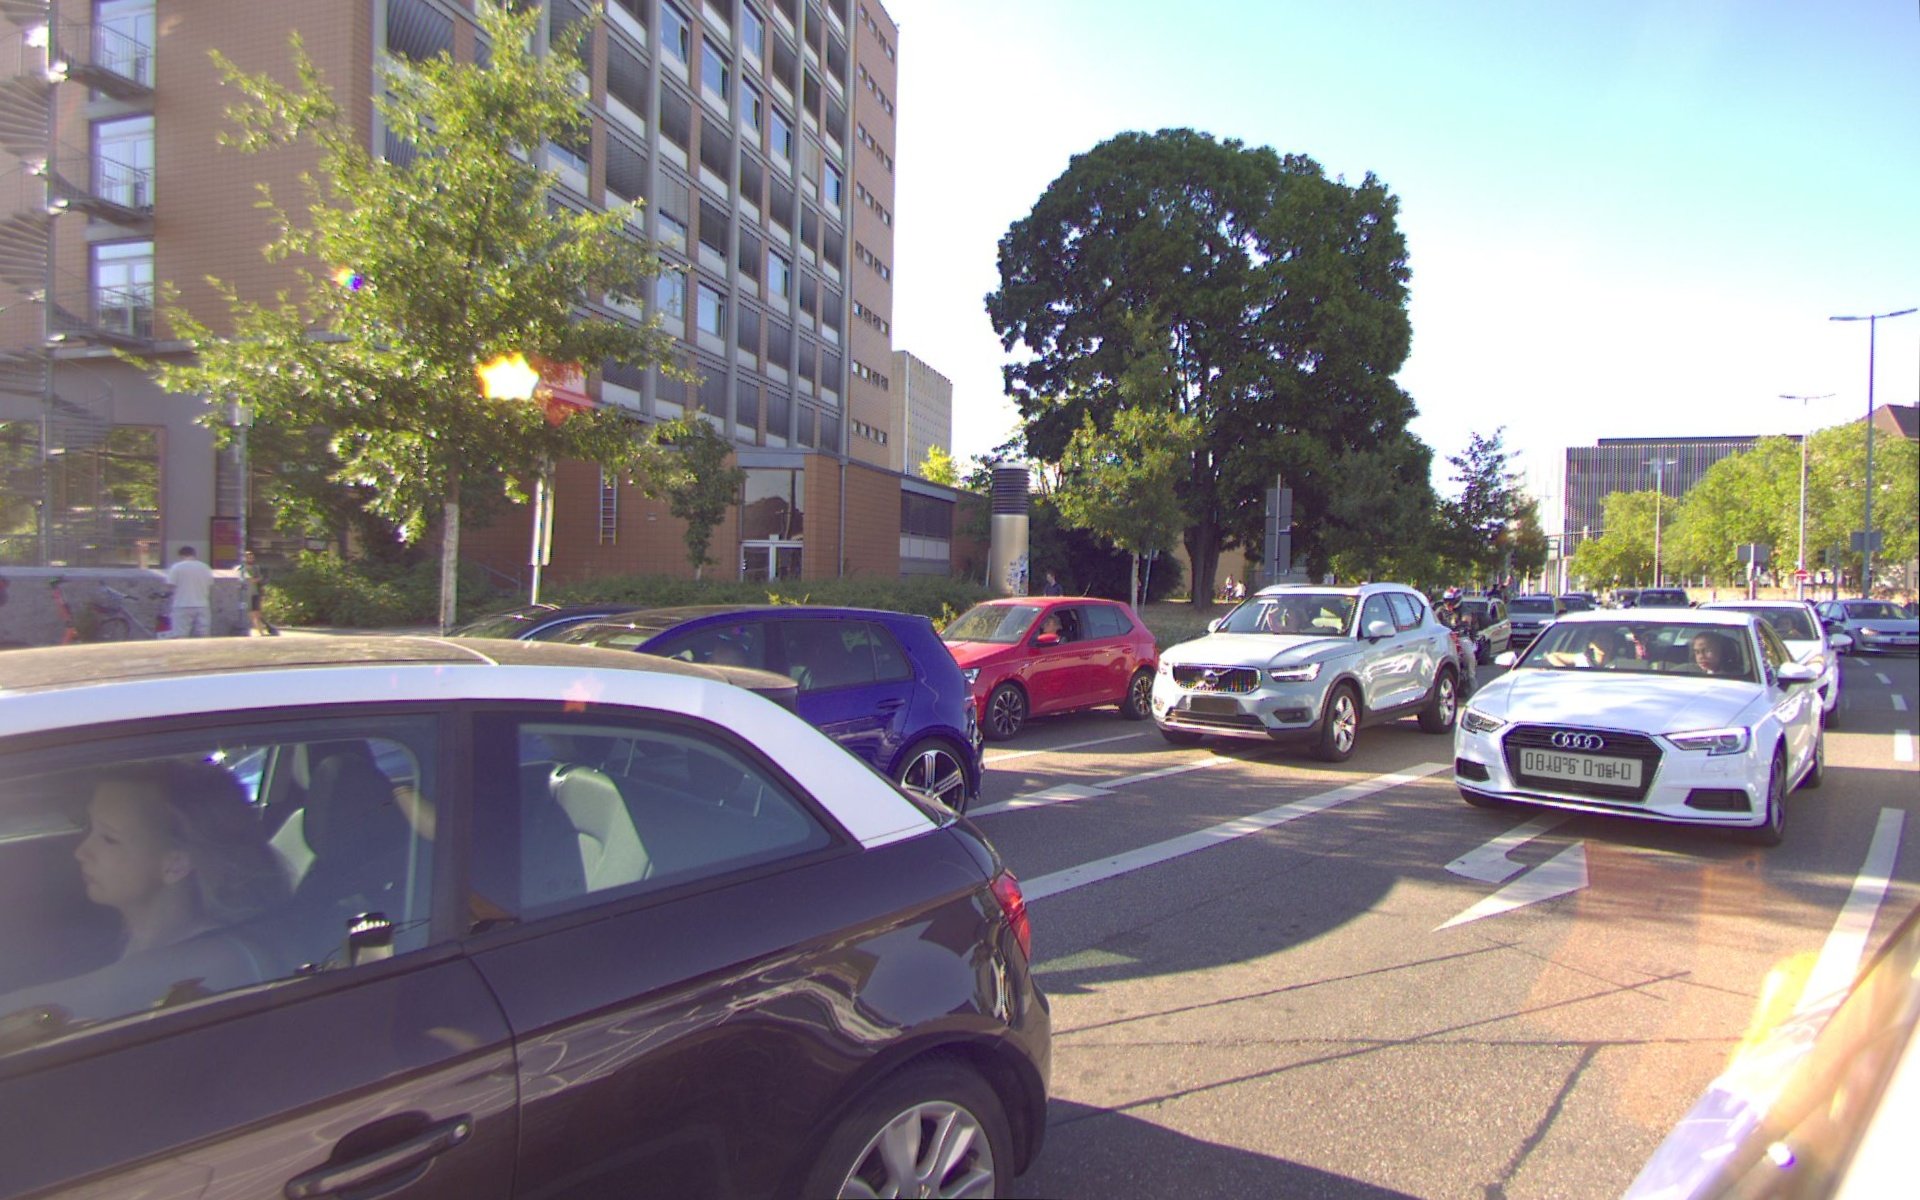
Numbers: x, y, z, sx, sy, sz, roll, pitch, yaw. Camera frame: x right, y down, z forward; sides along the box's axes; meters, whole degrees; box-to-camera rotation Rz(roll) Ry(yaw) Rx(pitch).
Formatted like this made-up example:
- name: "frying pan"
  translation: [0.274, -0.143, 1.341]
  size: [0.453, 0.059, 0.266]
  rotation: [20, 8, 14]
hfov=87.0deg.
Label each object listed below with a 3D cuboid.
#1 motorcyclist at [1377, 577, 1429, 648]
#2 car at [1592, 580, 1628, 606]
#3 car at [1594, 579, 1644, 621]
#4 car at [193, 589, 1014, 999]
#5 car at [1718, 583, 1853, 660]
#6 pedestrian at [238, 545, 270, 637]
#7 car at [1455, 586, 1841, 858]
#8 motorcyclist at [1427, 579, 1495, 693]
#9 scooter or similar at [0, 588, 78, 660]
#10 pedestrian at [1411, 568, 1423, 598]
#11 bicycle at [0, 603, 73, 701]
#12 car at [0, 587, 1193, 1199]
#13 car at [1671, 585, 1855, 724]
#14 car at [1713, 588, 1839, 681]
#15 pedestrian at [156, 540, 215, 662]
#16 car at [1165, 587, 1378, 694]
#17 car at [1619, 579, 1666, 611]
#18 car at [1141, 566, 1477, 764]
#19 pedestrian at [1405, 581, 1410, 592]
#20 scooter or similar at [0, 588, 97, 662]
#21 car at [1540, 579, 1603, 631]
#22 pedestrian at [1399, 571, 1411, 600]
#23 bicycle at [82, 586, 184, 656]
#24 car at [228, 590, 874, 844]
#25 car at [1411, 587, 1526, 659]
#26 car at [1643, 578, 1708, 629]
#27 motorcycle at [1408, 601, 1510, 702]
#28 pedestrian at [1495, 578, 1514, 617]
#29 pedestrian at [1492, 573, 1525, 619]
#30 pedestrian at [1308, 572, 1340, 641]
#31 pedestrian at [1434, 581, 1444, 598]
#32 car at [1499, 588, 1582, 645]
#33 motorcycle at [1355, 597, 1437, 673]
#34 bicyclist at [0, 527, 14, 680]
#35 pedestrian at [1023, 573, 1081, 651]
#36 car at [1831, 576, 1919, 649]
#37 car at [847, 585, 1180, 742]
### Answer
- name: "motorcyclist"
  translation: [8.509, 0.232, 19.429]
  size: [0.715, 1.321, 0.724]
  rotation: [-1, 0, 43]
- name: "car"
  translation: [47.980, -0.531, 74.779]
  size: [1.862, 1.838, 3.962]
  rotation: [1, 1, 27]
- name: "car"
  translation: [30.737, -0.020, 47.250]
  size: [1.866, 1.838, 3.953]
  rotation: [1, 1, 33]
- name: "car"
  translation: [-1.658, 0.678, 5.545]
  size: [3.932, 1.422, 1.625]
  rotation: [-1, 1, -42]
- name: "car"
  translation: [18.754, 0.412, 23.168]
  size: [1.732, 1.564, 3.958]
  rotation: [1, 1, 30]
- name: "pedestrian"
  translation: [-13.664, -0.168, 19.584]
  size: [0.441, 1.754, 0.372]
  rotation: [-1, 0, 34]
- name: "car"
  translation: [5.107, 0.631, 7.303]
  size: [3.772, 1.422, 1.624]
  rotation: [-1, 1, -45]
- name: "motorcyclist"
  translation: [7.282, 0.502, 14.708]
  size: [0.709, 1.610, 0.679]
  rotation: [-1, 0, 43]
- name: "scooter or similar"
  translation: [-13.489, 0.340, 14.424]
  size: [0.339, 1.008, 1.359]
  rotation: [-1, 0, 28]
- name: "pedestrian"
  translation: [24.736, -0.918, 54.723]
  size: [0.542, 1.627, 0.599]
  rotation: [-1, 0, 28]
- name: "bicycle"
  translation: [-10.505, 0.550, 10.416]
  size: [1.997, 0.975, 0.660]
  rotation: [-1, 2, -37]
- name: "car"
  translation: [-1.445, 0.716, 1.660]
  size: [3.932, 1.422, 1.625]
  rotation: [-1, 1, -42]
- name: "car"
  translation: [10.373, 0.569, 12.968]
  size: [1.622, 1.478, 3.981]
  rotation: [-1, 1, 42]
- name: "car"
  translation: [14.873, 0.537, 18.435]
  size: [1.621, 1.478, 3.983]
  rotation: [-1, 1, 40]
- name: "pedestrian"
  translation: [-10.982, -0.006, 14.352]
  size: [0.592, 1.660, 0.677]
  rotation: [-1, 4, -44]
- name: "car"
  translation: [5.132, 0.558, 16.375]
  size: [3.976, 1.478, 1.624]
  rotation: [-1, 1, -45]
- name: "car"
  translation: [41.028, -0.333, 60.946]
  size: [1.862, 1.838, 3.962]
  rotation: [1, 1, 27]
- name: "car"
  translation: [3.753, 0.507, 10.451]
  size: [4.156, 1.641, 1.624]
  rotation: [-1, 1, -45]
- name: "pedestrian"
  translation: [58.682, -1.750, 132.704]
  size: [0.477, 1.504, 0.409]
  rotation: [0, 1, -42]
- name: "scooter or similar"
  translation: [-12.907, 0.336, 14.064]
  size: [0.341, 1.008, 1.352]
  rotation: [-1, 0, 41]
- name: "car"
  translation: [23.148, 0.158, 38.266]
  size: [1.866, 1.838, 3.953]
  rotation: [1, 1, 33]
- name: "pedestrian"
  translation: [24.180, -0.783, 54.936]
  size: [0.542, 1.549, 0.599]
  rotation: [-1, 0, 28]
- name: "bicycle"
  translation: [-12.339, 0.306, 15.122]
  size: [1.133, 1.016, 0.357]
  rotation: [-1, 0, -13]
- name: "car"
  translation: [-2.959, 0.666, 8.021]
  size: [4.436, 1.422, 1.725]
  rotation: [-1, 1, -43]
- name: "car"
  translation: [12.224, 0.477, 24.205]
  size: [1.737, 1.544, 3.946]
  rotation: [2, 2, 37]
- name: "car"
  translation: [27.428, 0.086, 38.892]
  size: [1.866, 1.838, 3.953]
  rotation: [1, 1, 33]
- name: "motorcycle"
  translation: [7.277, 0.691, 14.702]
  size: [0.715, 1.321, 2.200]
  rotation: [-1, 0, 43]
- name: "pedestrian"
  translation: [22.458, -0.113, 41.738]
  size: [0.593, 1.615, 0.586]
  rotation: [-1, 0, 39]
- name: "pedestrian"
  translation: [24.846, -0.196, 45.863]
  size: [1.136, 2.039, 1.269]
  rotation: [-1, 0, 37]
- name: "pedestrian"
  translation: [10.227, 0.180, 28.421]
  size: [0.681, 1.910, 0.465]
  rotation: [-1, 0, -25]
- name: "pedestrian"
  translation: [56.980, -1.213, 120.392]
  size: [0.827, 2.039, 1.062]
  rotation: [-1, 0, 17]
- name: "car"
  translation: [17.612, 0.435, 30.615]
  size: [1.736, 1.564, 3.948]
  rotation: [2, 1, 36]
- name: "motorcycle"
  translation: [8.268, 0.628, 19.134]
  size: [0.715, 1.321, 2.200]
  rotation: [-1, 0, 43]
- name: "bicyclist"
  translation: [-10.418, 0.044, 10.461]
  size: [0.855, 1.580, 0.617]
  rotation: [-1, 0, -37]
- name: "pedestrian"
  translation: [2.119, 0.268, 23.298]
  size: [1.004, 1.742, 0.874]
  rotation: [-1, 0, 37]
- name: "car"
  translation: [23.721, 0.267, 25.962]
  size: [1.736, 1.727, 3.948]
  rotation: [2, 1, 36]
- name: "car"
  translation: [0.753, 0.594, 11.752]
  size: [3.976, 1.478, 1.624]
  rotation: [-1, 1, -45]
